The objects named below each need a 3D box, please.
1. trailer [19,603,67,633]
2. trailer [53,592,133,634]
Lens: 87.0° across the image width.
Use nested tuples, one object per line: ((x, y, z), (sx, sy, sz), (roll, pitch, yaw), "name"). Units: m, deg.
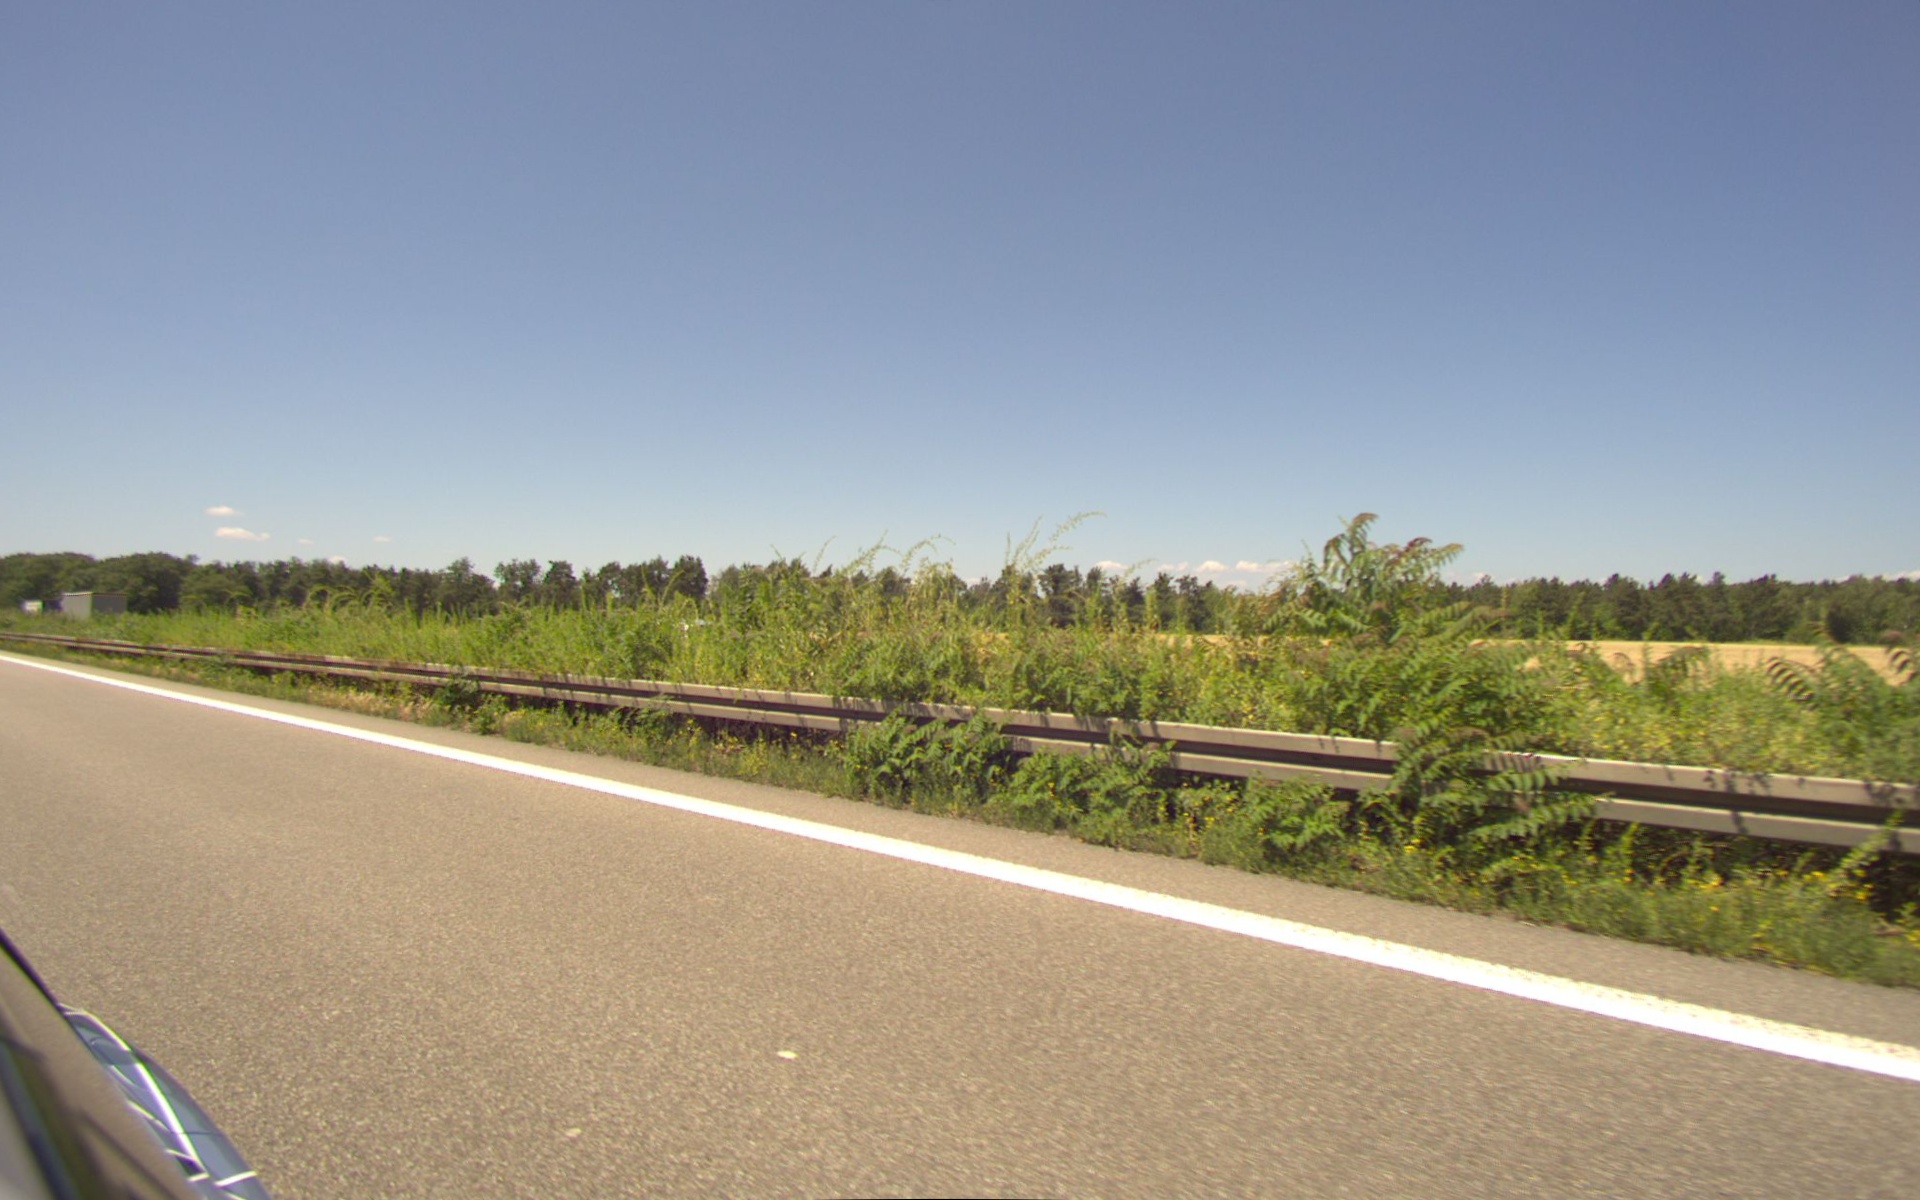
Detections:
((-118.772, 2.353, 130.931), (14.377, 3.726, 3.077), (-1, 0, 42), "trailer")
((-81.201, 1.244, 94.660), (14.369, 3.726, 3.316), (-1, 0, 40), "trailer")
